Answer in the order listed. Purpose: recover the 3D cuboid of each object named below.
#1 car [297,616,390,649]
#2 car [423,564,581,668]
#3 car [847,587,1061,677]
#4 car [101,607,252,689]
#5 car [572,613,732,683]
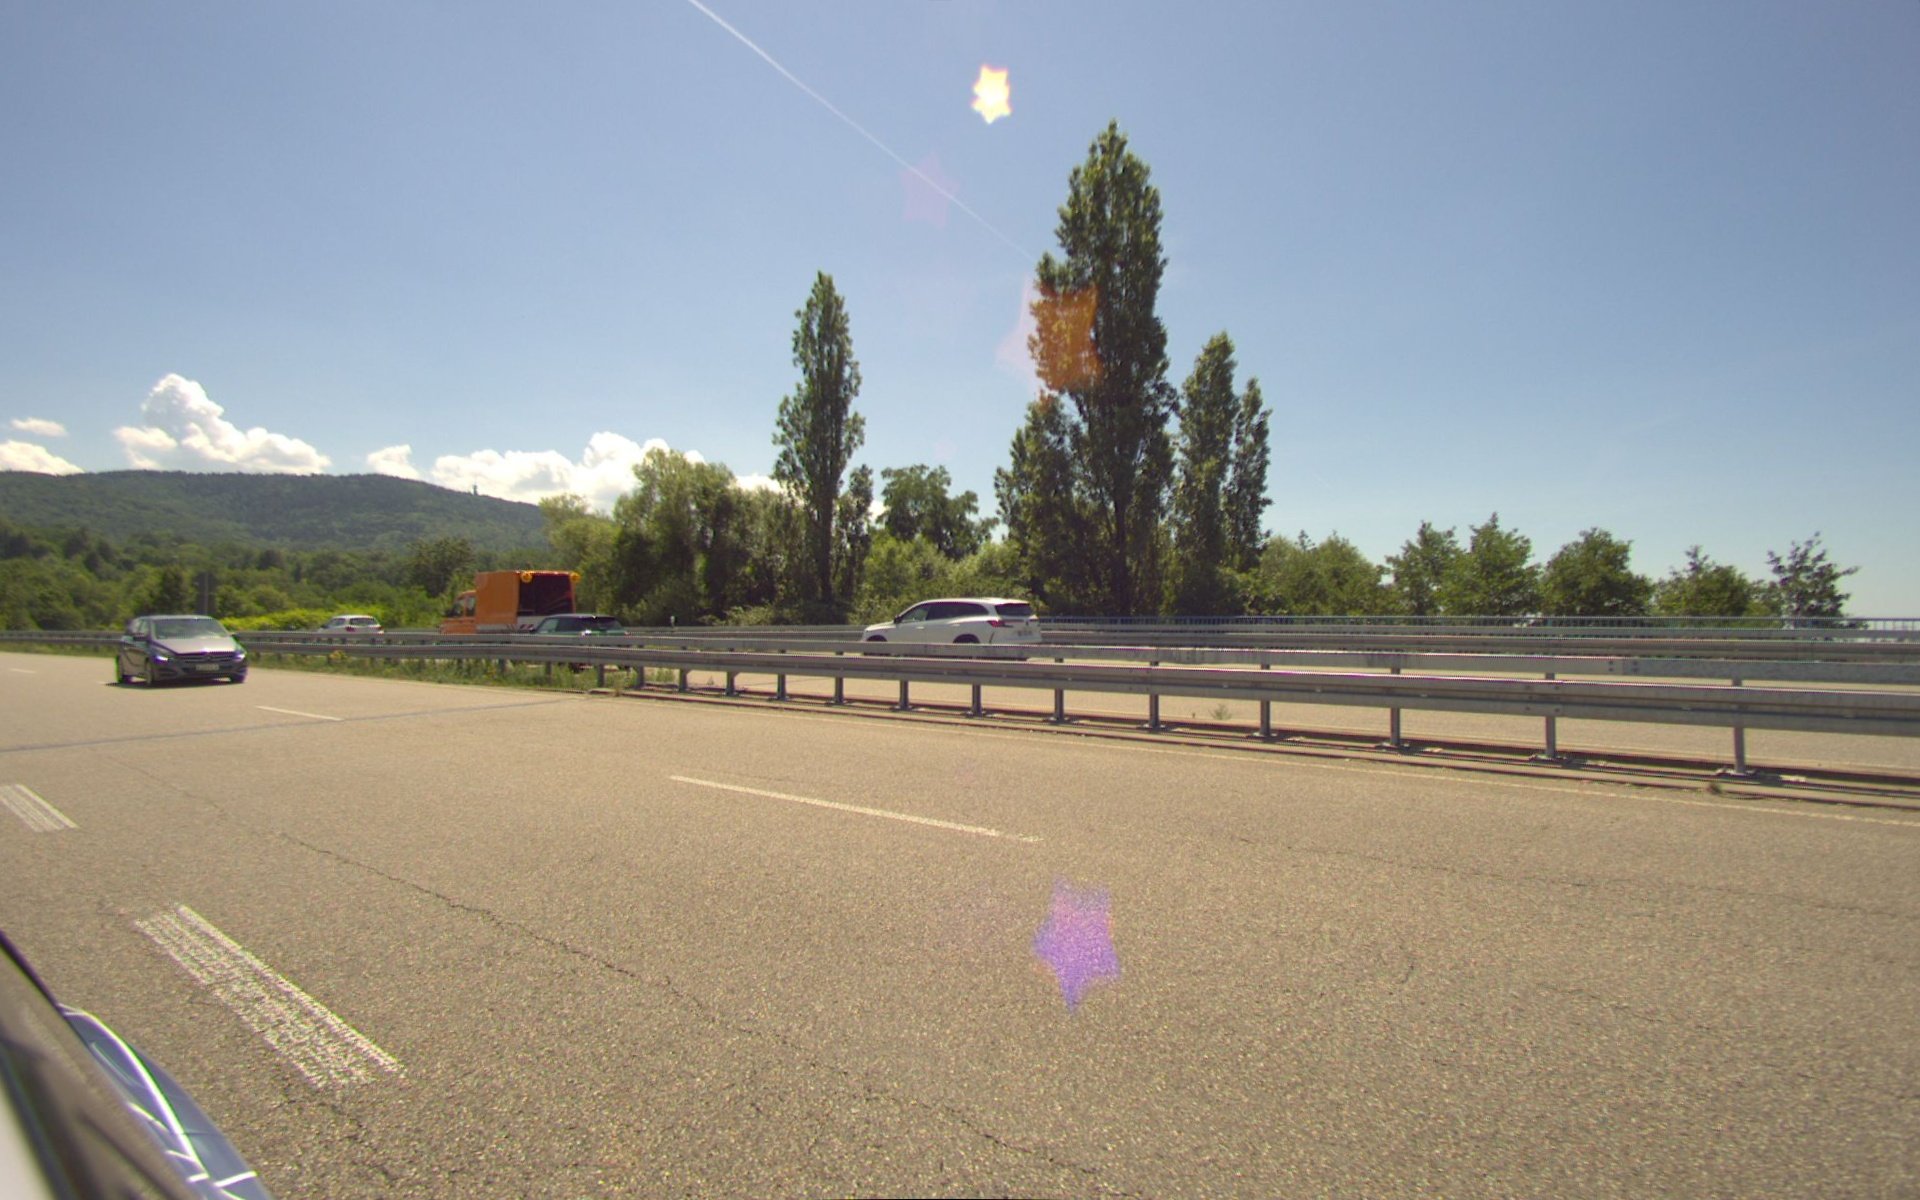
[{"bbox_3d":[-27.725,1.442,45.451,4.784,1.443,1.836,-1,-2,36],"label":"car"},{"bbox_3d":[-16.228,0.584,35.636,7.023,3.317,2.282,-1,-2,40],"label":"car"},{"bbox_3d":[-0.224,0.669,22.948,4.791,1.832,1.834,0,-1,40],"label":"car"},{"bbox_3d":[-18.211,1.059,23.454,4.549,1.680,1.775,-1,0,39],"label":"car"},{"bbox_3d":[-7.188,1.054,23.437,3.946,1.439,1.707,0,-1,41],"label":"car"}]
